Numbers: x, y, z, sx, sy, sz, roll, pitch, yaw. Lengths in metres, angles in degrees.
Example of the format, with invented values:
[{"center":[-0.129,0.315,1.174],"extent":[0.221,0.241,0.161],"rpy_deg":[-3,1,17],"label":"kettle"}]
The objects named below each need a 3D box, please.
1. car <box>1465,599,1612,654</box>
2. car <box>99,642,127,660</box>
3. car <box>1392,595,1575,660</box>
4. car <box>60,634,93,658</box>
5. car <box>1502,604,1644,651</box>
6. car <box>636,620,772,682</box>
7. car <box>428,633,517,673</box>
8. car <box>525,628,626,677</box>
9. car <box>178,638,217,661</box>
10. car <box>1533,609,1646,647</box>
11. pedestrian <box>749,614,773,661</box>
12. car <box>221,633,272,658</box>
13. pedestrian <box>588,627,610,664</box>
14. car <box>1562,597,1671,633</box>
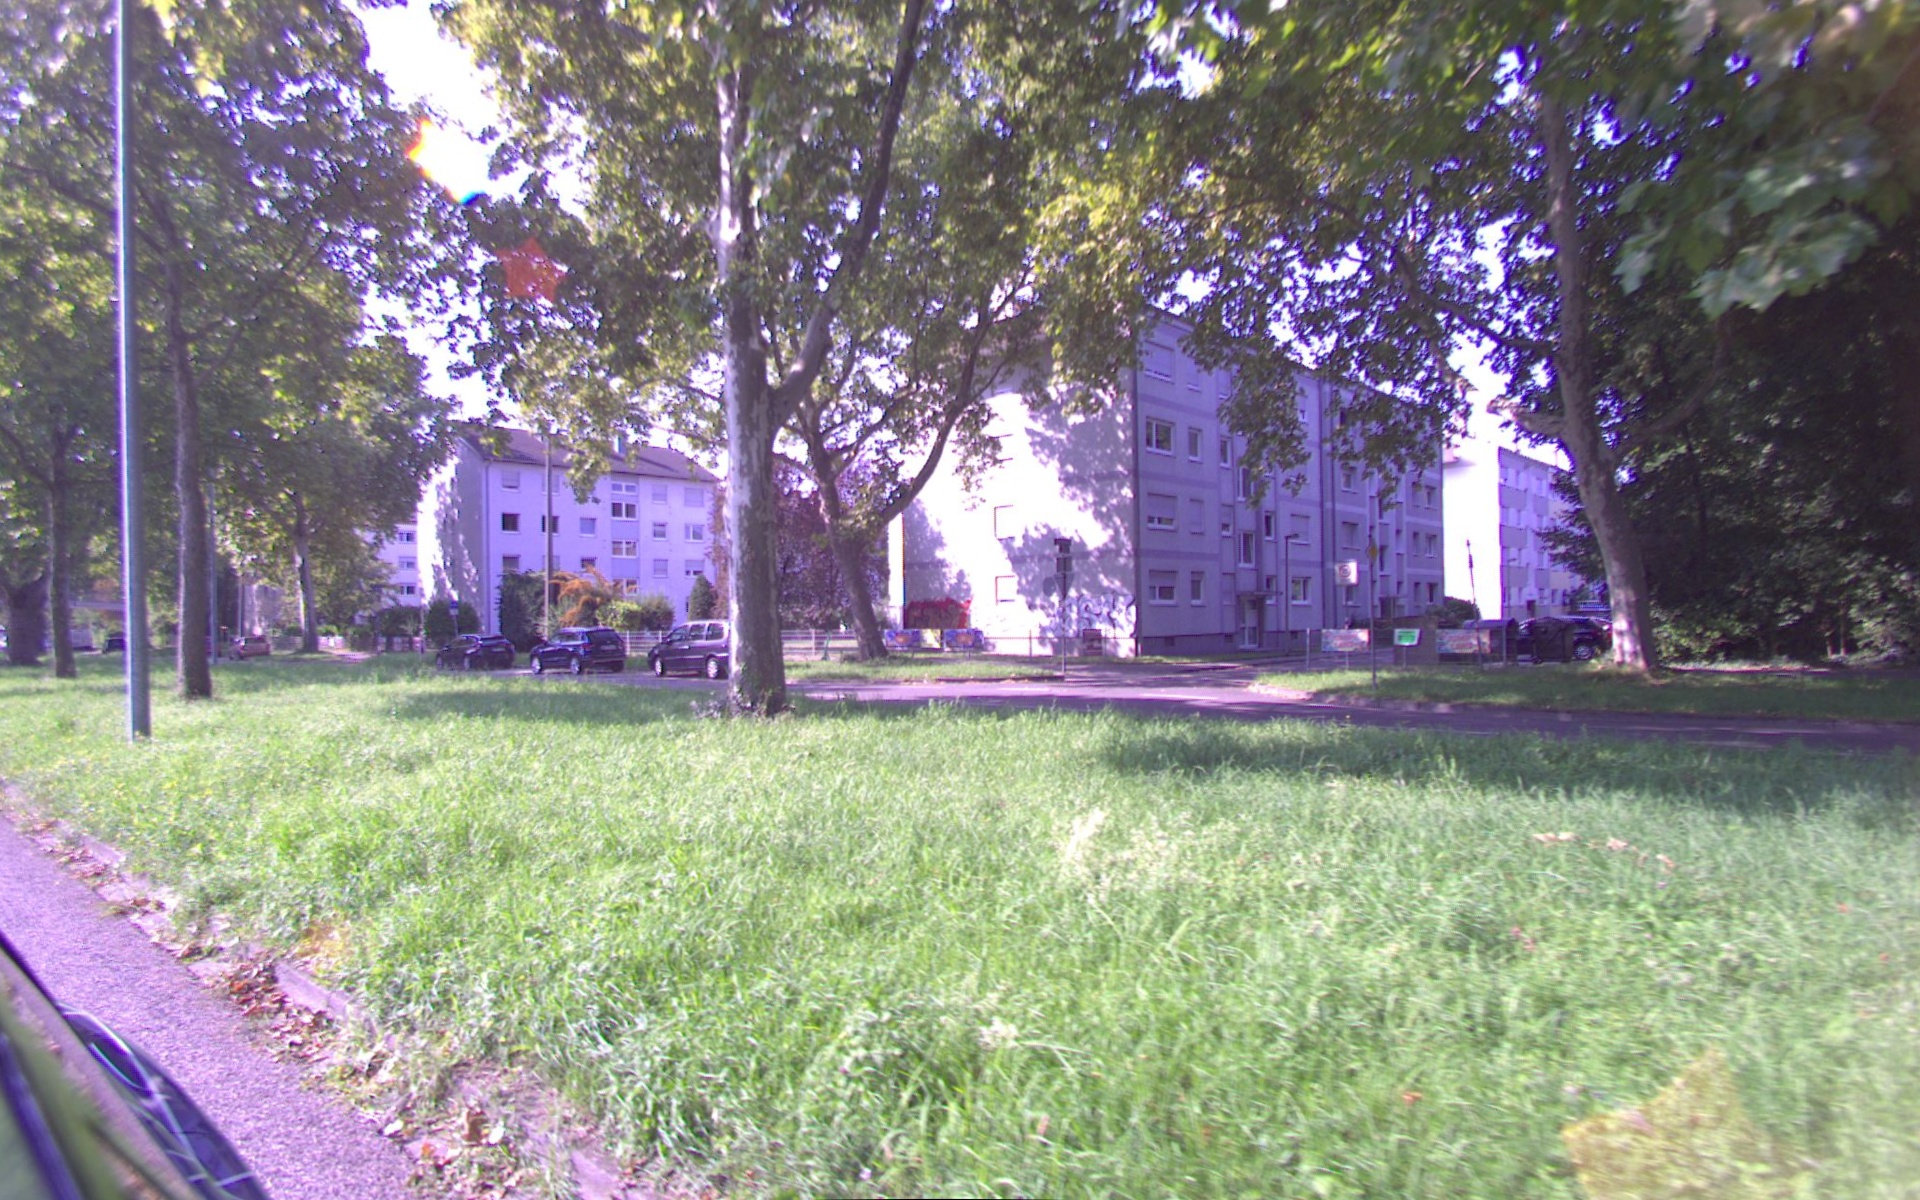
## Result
[{"center":[19.568,0.912,34.339],"extent":[1.677,1.739,4.003],"rpy_deg":[-1,-1,-44],"label":"car"},{"center":[-79.784,4.799,95.285],"extent":[3.862,1.544,1.506],"rpy_deg":[-2,-2,42],"label":"car"},{"center":[15.098,0.793,29.360],"extent":[1.677,1.739,4.392],"rpy_deg":[-1,-1,-44],"label":"car"},{"center":[-99.119,5.116,113.513],"extent":[6.267,2.448,2.183],"rpy_deg":[-2,1,44],"label":"car"},{"center":[21.818,0.984,36.099],"extent":[1.677,1.579,4.003],"rpy_deg":[-1,-1,-44],"label":"car"},{"center":[-7.911,1.528,30.992],"extent":[4.657,1.745,1.681],"rpy_deg":[-2,-1,41],"label":"car"},{"center":[-20.192,2.185,41.861],"extent":[4.538,1.519,1.681],"rpy_deg":[-3,-2,41],"label":"car"},{"center":[-13.598,1.831,35.691],"extent":[3.998,1.580,1.681],"rpy_deg":[-2,-2,41],"label":"car"},{"center":[-53.603,3.460,71.119],"extent":[4.064,1.462,1.522],"rpy_deg":[-2,-1,43],"label":"car"},{"center":[28.316,1.264,45.613],"extent":[1.677,1.579,4.003],"rpy_deg":[-1,-1,-44],"label":"car"},{"center":[-7.323,1.385,37.225],"extent":[0.657,1.703,0.537],"rpy_deg":[-2,-1,37],"label":"pedestrian"},{"center":[-44.631,2.848,63.303],"extent":[4.064,1.441,1.782],"rpy_deg":[-3,-1,43],"label":"car"},{"center":[-16.479,2.059,46.249],"extent":[0.734,1.658,0.640],"rpy_deg":[-2,-1,40],"label":"pedestrian"},{"center":[30.922,0.734,47.728],"extent":[1.677,1.579,4.003],"rpy_deg":[-1,-1,-44],"label":"car"}]
